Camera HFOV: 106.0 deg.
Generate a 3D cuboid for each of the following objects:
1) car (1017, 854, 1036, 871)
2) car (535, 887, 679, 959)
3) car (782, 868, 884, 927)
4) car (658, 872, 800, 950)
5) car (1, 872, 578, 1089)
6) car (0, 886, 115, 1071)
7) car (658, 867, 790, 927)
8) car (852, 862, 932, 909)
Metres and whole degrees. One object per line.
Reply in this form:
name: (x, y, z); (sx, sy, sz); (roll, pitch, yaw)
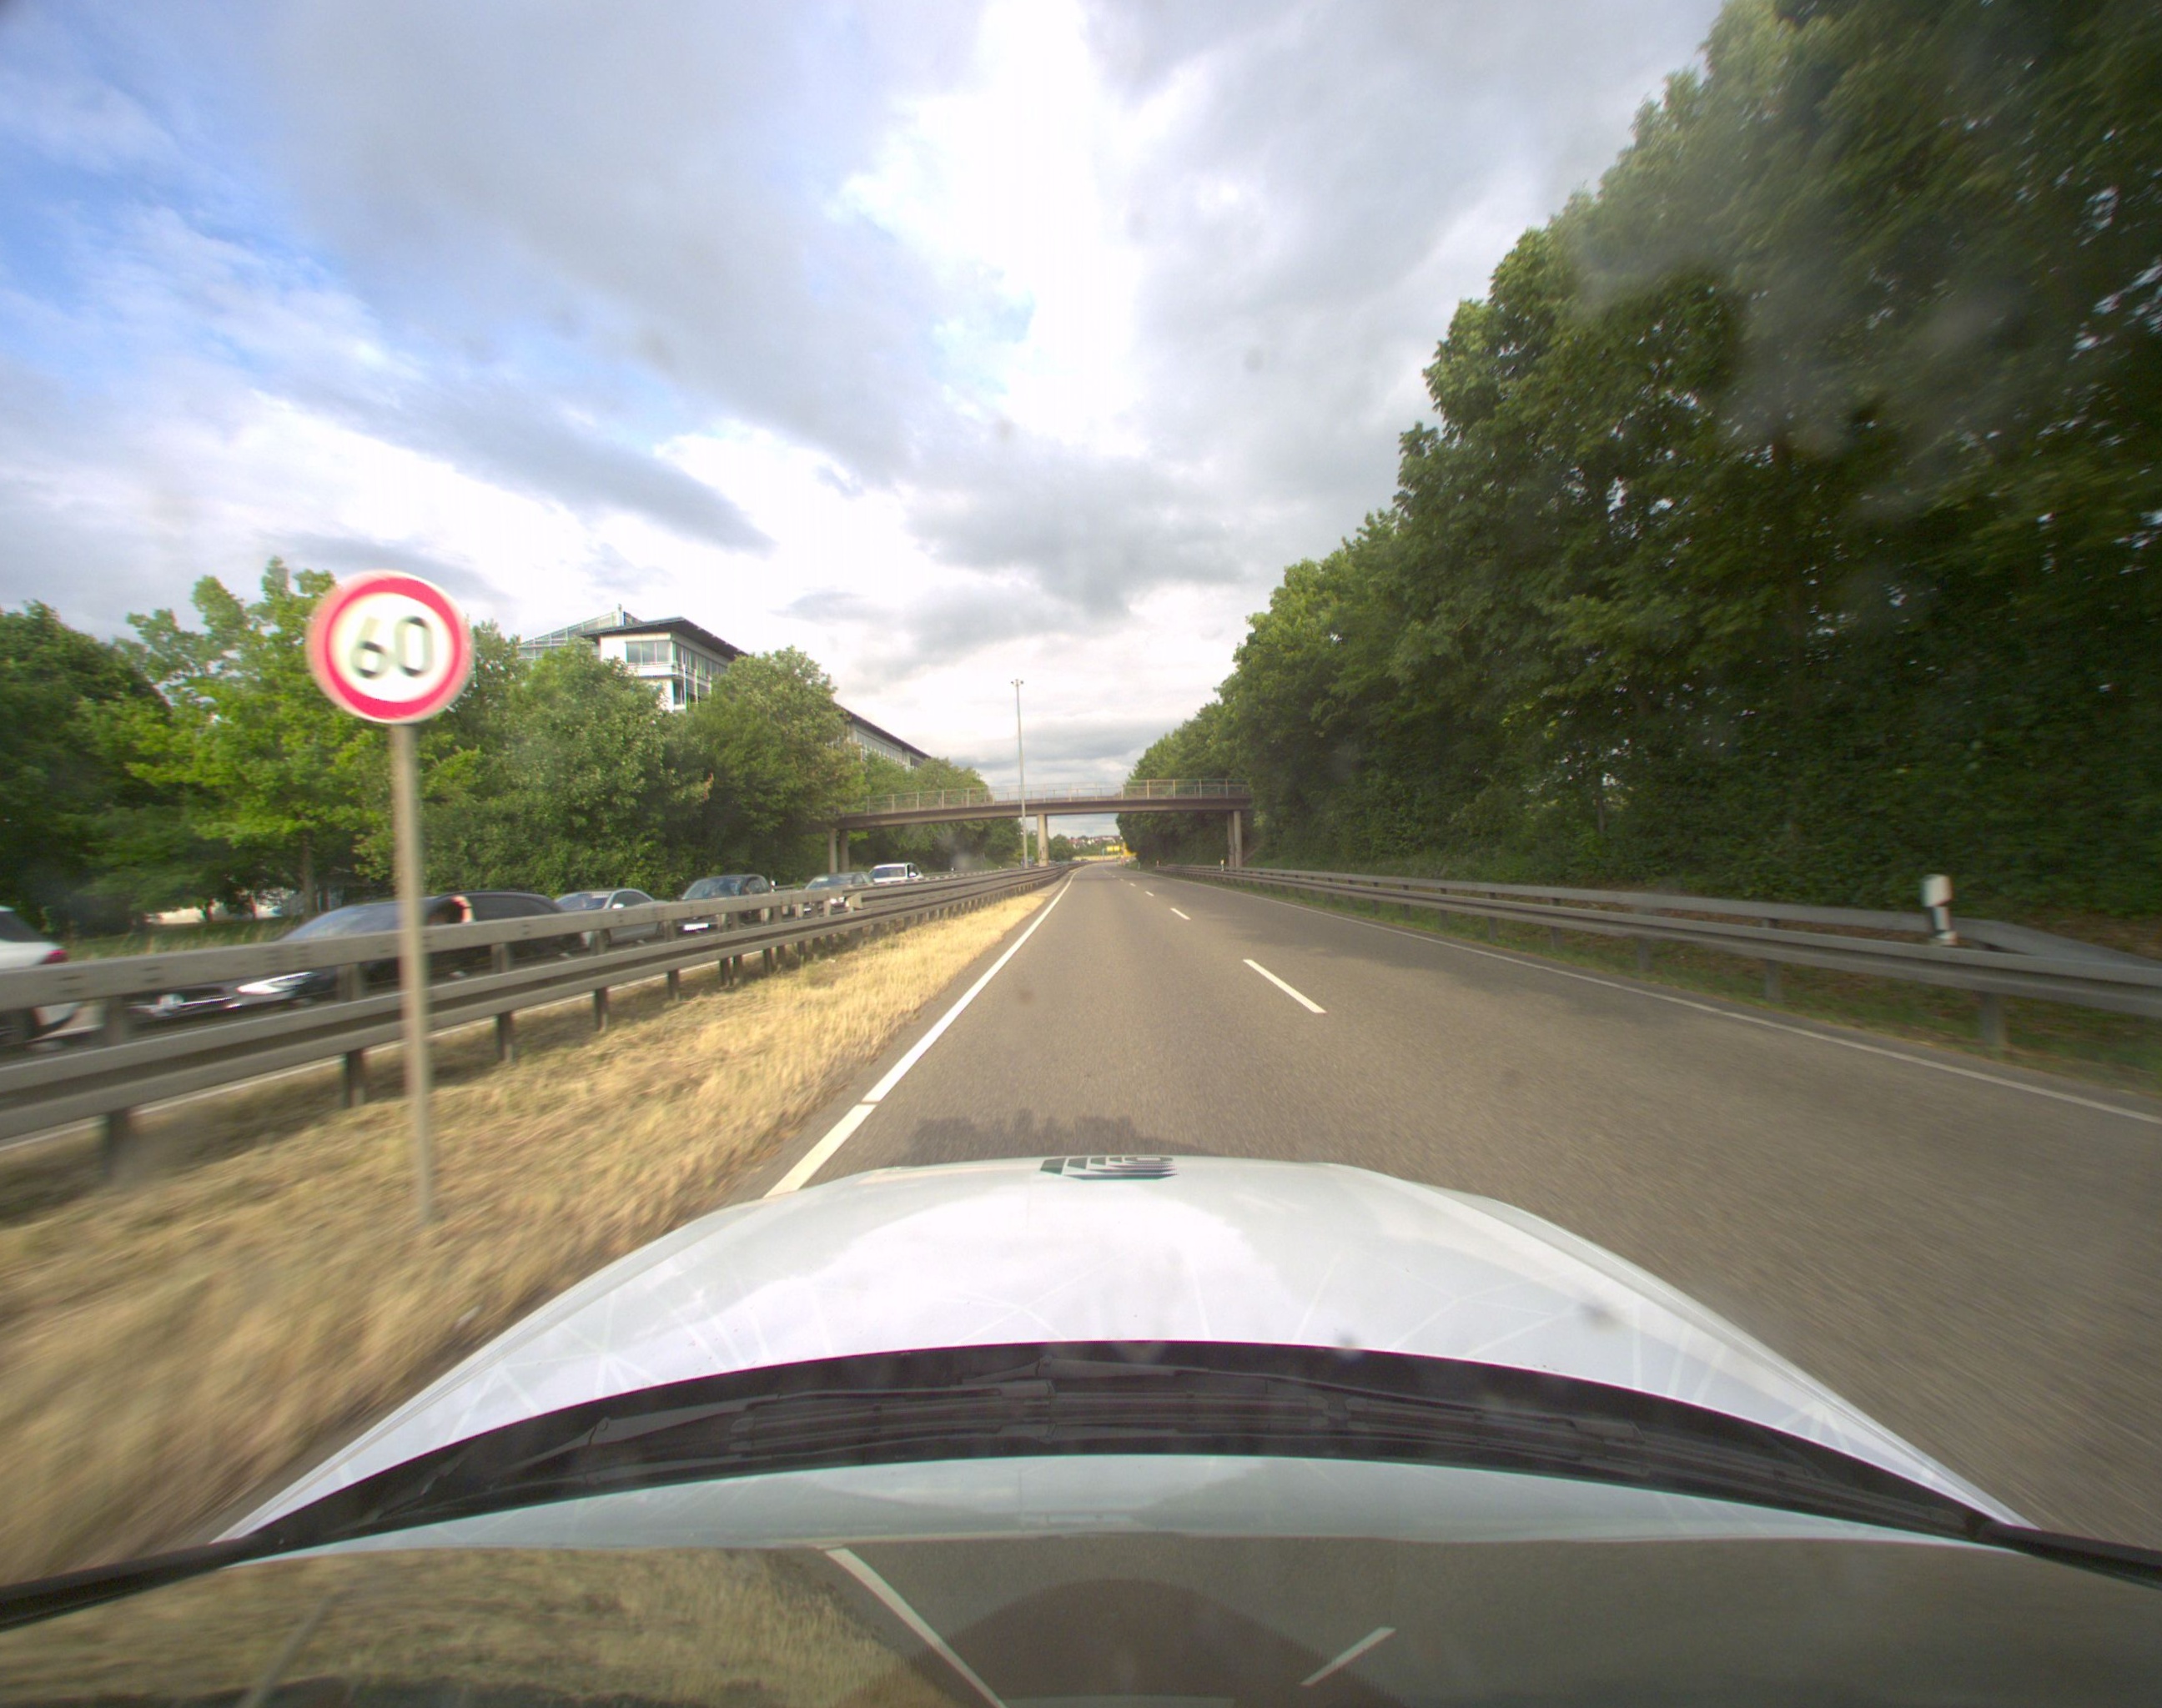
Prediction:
car: (-8.496, 1.376, 127.749); (2.242, 2.537, 6.942); (-2, 0, 1)
car: (-11.015, 1.557, 19.175); (1.425, 1.353, 3.309); (-3, 0, -1)
car: (-7.136, 1.205, 23.816); (1.712, 1.467, 3.735); (-3, 0, 1)
car: (-7.827, 1.213, 18.443); (1.550, 1.360, 3.464); (-5, 0, 1)
car: (-7.800, 1.073, 8.855); (1.706, 1.589, 4.555); (-3, 0, 1)
car: (-11.536, 1.289, 6.341); (2.026, 1.749, 4.848); (-4, 0, 2)
car: (-10.586, 1.217, 24.560); (1.827, 1.536, 4.399); (-3, -1, 2)
car: (-7.236, 1.161, 31.642); (1.816, 1.584, 4.791); (-3, 0, 1)
